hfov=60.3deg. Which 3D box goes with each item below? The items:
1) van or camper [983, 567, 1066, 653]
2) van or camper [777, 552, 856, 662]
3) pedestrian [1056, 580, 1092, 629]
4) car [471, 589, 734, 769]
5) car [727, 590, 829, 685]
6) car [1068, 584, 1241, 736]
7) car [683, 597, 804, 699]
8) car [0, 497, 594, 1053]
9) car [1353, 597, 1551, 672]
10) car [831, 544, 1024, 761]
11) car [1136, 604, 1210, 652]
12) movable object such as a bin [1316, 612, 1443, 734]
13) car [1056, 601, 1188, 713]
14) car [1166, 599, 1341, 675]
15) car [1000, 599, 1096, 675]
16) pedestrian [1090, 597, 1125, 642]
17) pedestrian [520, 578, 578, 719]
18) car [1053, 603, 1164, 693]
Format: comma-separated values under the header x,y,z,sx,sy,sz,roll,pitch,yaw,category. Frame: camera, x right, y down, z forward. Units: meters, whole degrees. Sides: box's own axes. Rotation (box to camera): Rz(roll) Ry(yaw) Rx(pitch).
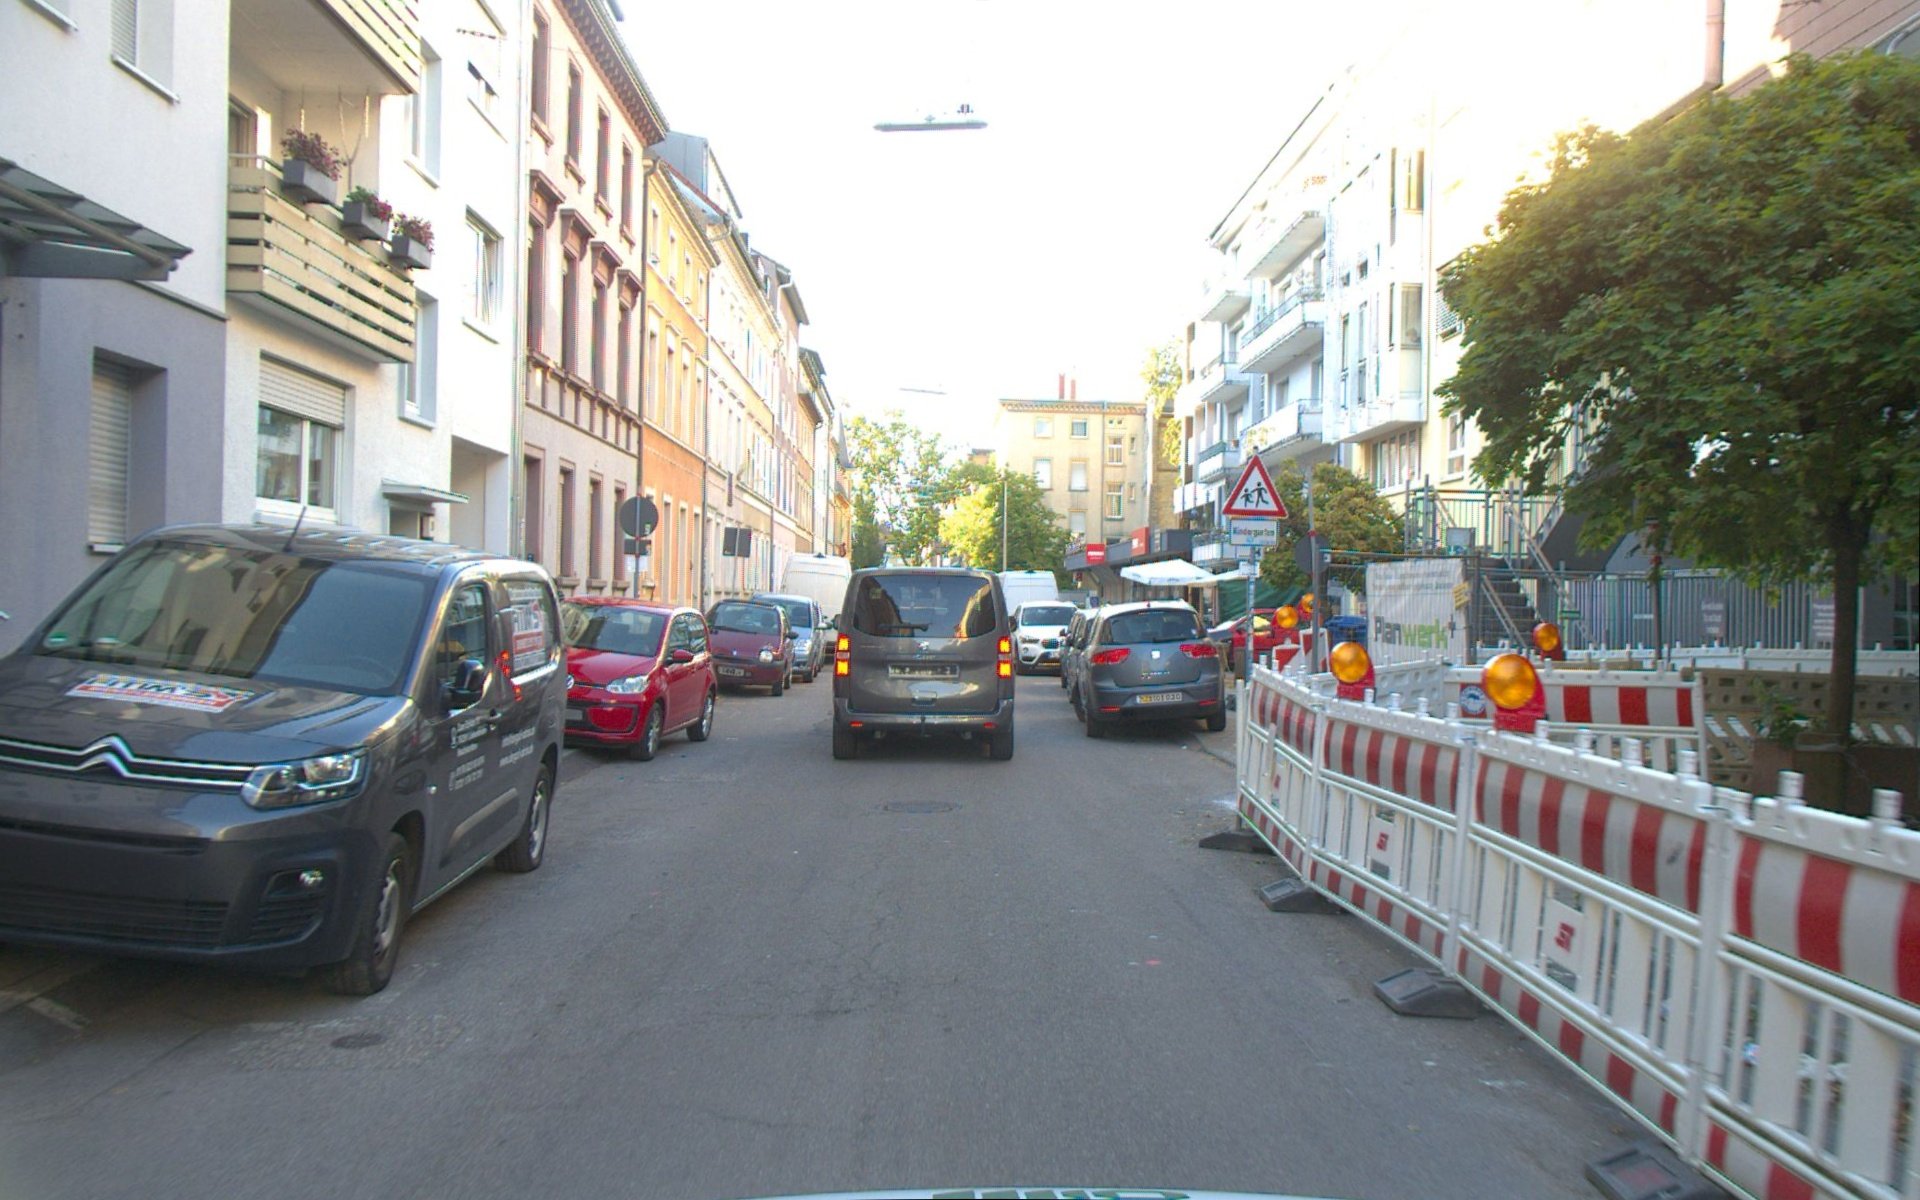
x,y,z,sx,sy,sz,roll,pitch,yaw,category
2.031,0.317,54.579,2.058,2.648,7.507,0,0,-3,van or camper
-3.768,0.173,44.407,1.910,2.696,7.136,0,0,-3,van or camper
3.757,0.148,54.565,0.859,1.583,0.869,-1,0,-24,pedestrian
-3.598,0.748,17.285,1.634,1.511,3.607,6,0,3,car
-3.561,0.692,32.910,1.677,1.673,3.977,4,0,-3,car
2.406,0.700,21.502,1.713,1.712,4.525,2,0,0,car
-3.554,0.752,27.579,1.624,1.473,3.284,4,0,-3,car
-3.169,0.596,7.968,1.954,1.891,4.582,1,0,-3,car
11.534,0.792,38.936,4.027,1.688,1.998,1,0,-6,car
-0.383,0.493,17.834,1.820,2.049,3.998,-1,0,-2,car
6.729,0.851,51.999,1.567,1.441,3.229,0,0,21,car
5.064,0.883,19.969,1.235,1.400,0.795,3,-1,-27,movable object such as a bin
2.467,0.830,25.931,1.589,1.585,3.693,2,0,-1,car
6.996,0.868,39.694,3.817,1.635,1.693,2,0,-3,car
1.995,0.825,38.735,1.688,1.640,4.584,1,0,-4,car
5.709,0.750,64.037,0.925,1.750,1.050,0,0,-36,pedestrian
-4.999,0.585,20.136,0.485,1.667,0.665,2,-1,-2,pedestrian
2.676,0.827,30.586,1.587,1.512,4.123,-1,0,-1,car
